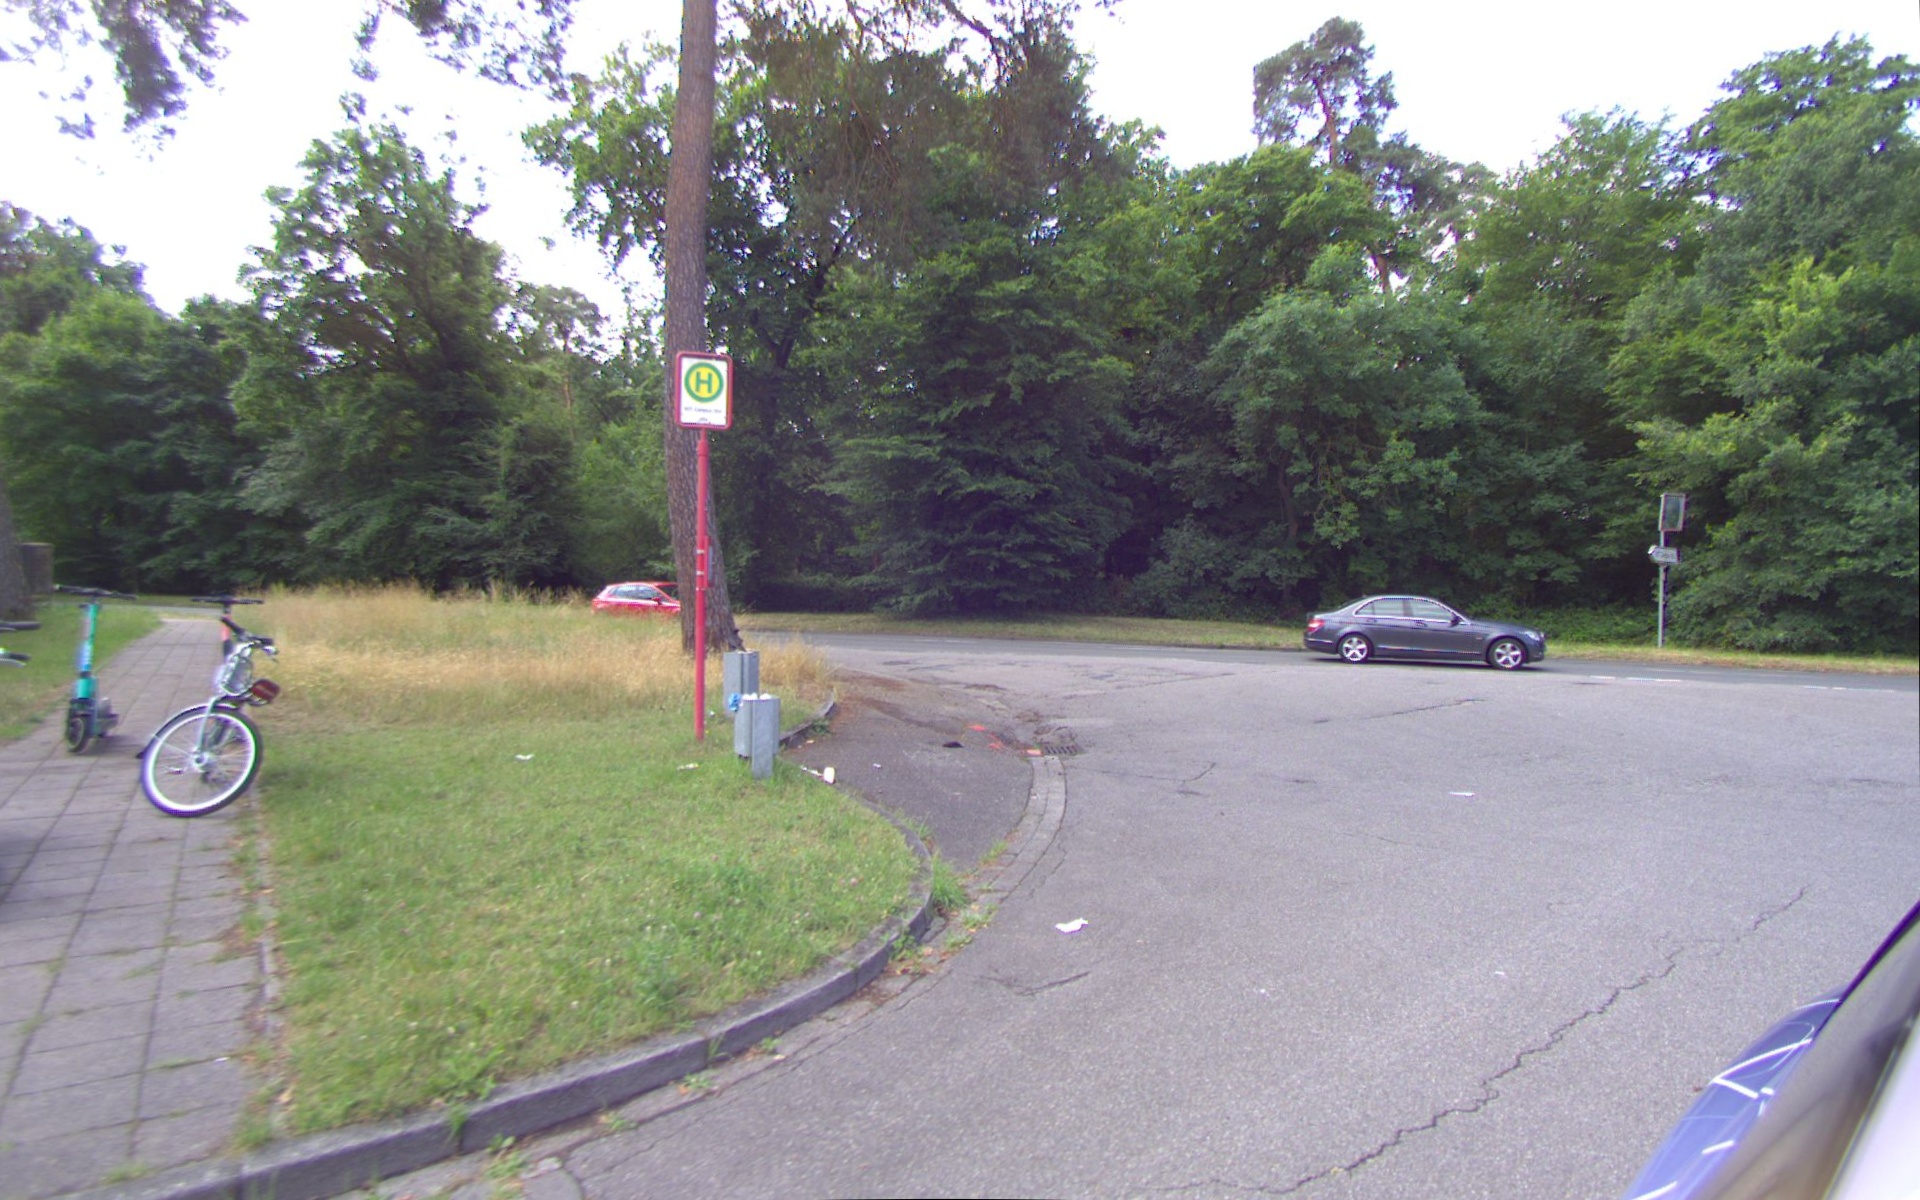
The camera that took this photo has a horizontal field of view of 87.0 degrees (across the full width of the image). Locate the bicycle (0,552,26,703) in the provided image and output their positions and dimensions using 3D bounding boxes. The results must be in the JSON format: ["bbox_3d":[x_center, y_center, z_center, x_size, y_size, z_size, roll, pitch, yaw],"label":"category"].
[{"bbox_3d":[-9.856,0.248,9.178,0.575,1.435,1.955,1,0,38],"label":"bicycle"}]

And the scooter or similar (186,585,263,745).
[{"bbox_3d":[-6.321,0.516,8.685,0.431,1.243,1.089,-1,3,-41],"label":"scooter or similar"}]

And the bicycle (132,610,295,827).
[{"bbox_3d":[-4.710,0.655,6.383,0.727,1.098,1.682,-1,2,-38],"label":"bicycle"}]

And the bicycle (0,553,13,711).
[{"bbox_3d":[-9.442,0.265,8.722,0.586,1.435,1.773,1,0,38],"label":"bicycle"}]

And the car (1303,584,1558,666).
[{"bbox_3d":[9.392,0.452,20.534,4.478,1.483,1.951,1,0,23],"label":"car"}]

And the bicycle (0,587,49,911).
[{"bbox_3d":[-4.743,0.582,4.721,0.624,1.256,2.172,2,0,-40],"label":"bicycle"}]

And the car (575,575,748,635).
[{"bbox_3d":[-8.114,0.104,27.584,4.148,1.482,1.989,1,1,18],"label":"car"}]

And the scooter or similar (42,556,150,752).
[{"bbox_3d":[-6.838,0.372,8.056,0.520,1.434,1.252,-1,2,-35],"label":"scooter or similar"}]
